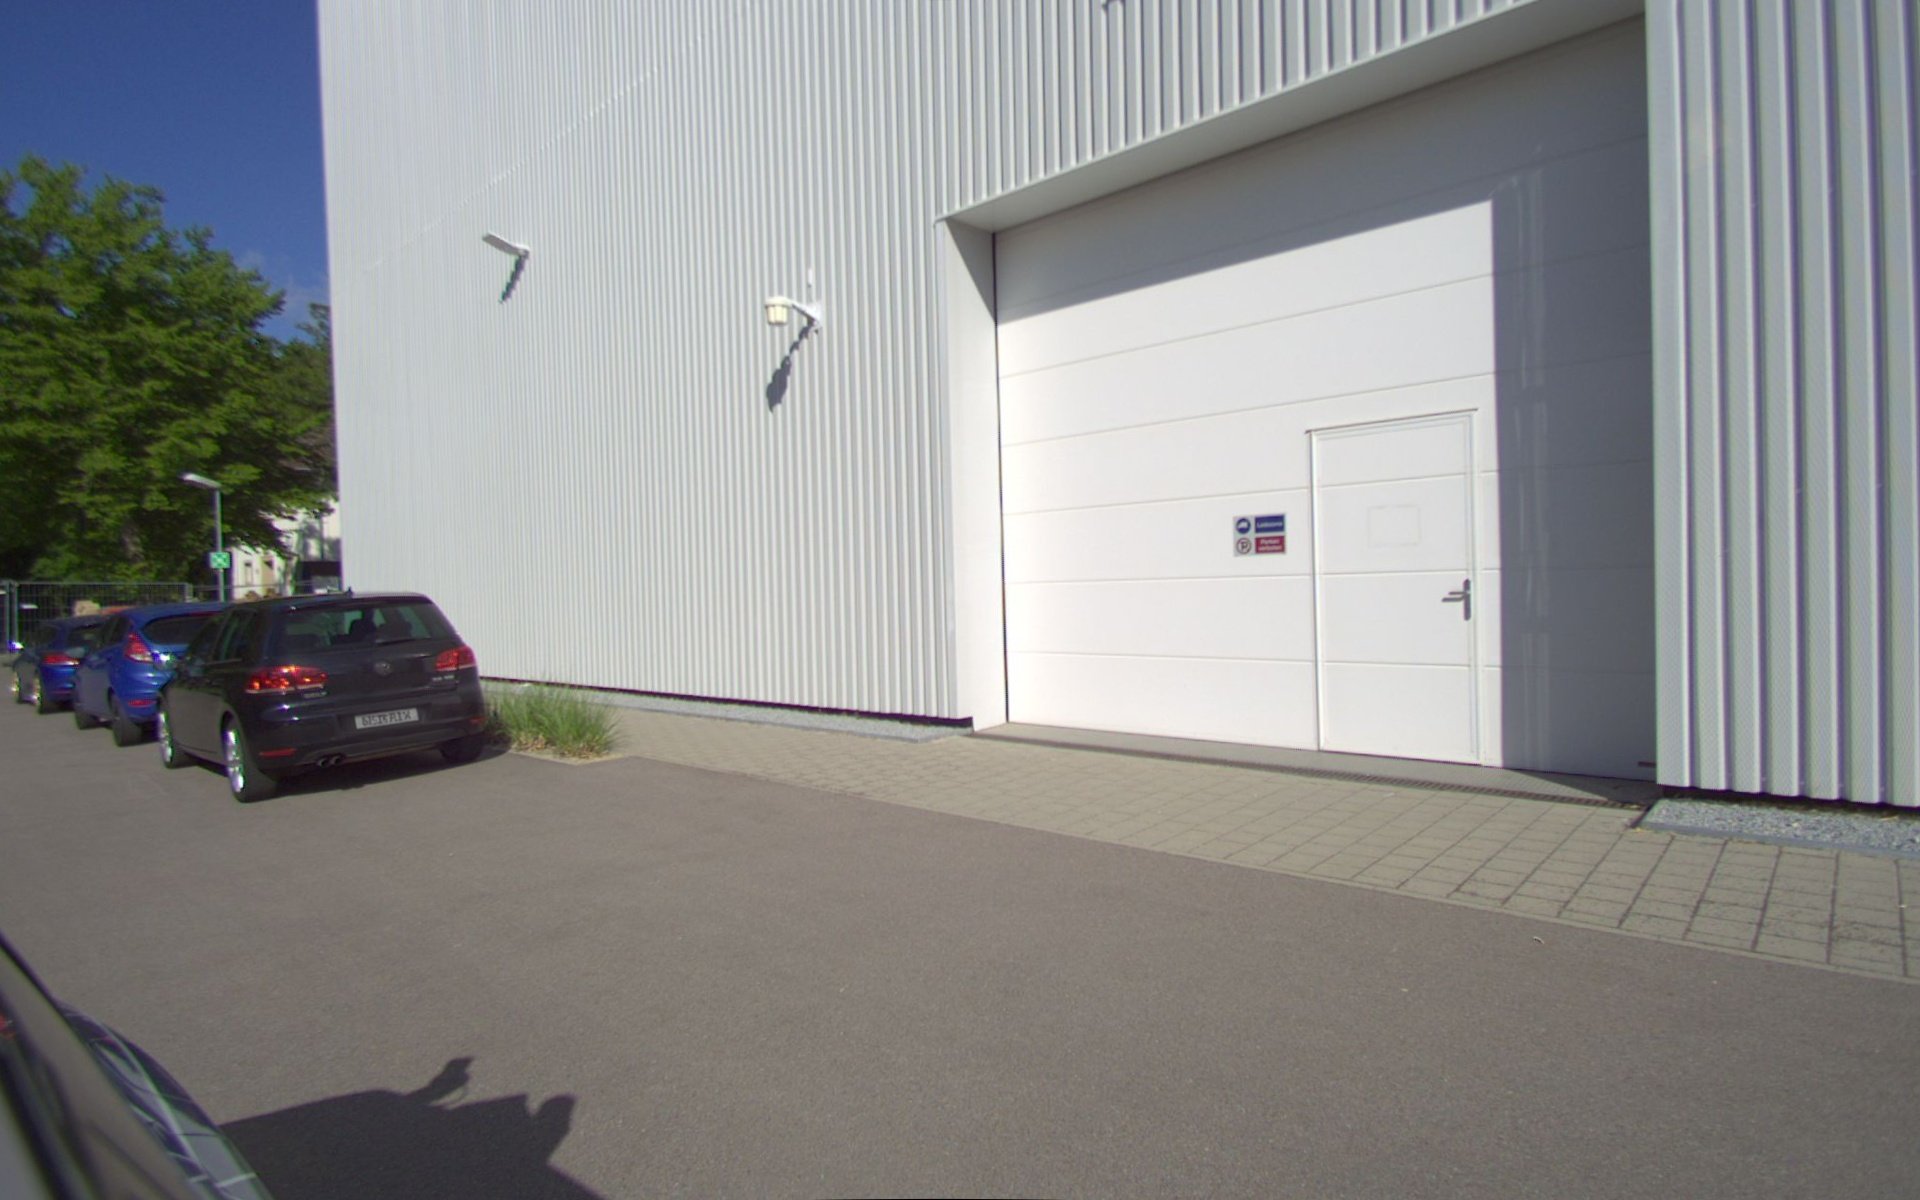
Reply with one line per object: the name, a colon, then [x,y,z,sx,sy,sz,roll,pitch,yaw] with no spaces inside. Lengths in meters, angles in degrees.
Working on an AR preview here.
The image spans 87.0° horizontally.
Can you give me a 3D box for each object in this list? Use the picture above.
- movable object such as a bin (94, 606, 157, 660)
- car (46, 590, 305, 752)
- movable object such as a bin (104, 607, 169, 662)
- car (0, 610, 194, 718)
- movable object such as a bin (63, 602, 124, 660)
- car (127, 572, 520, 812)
movable object such as a bin: [-24.042,0.925,29.163,1.228,1.450,1.080,0,3,37]
car: [-9.446,0.740,12.066,4.093,1.511,1.614,-1,3,41]
movable object such as a bin: [-23.028,0.939,28.297,1.228,1.443,1.080,0,3,37]
car: [-13.483,0.899,15.684,4.052,1.371,1.756,-1,2,42]
movable object such as a bin: [-25.761,0.892,30.087,1.228,1.609,1.080,1,2,36]
car: [-5.651,0.621,8.743,4.293,1.511,1.736,-1,3,43]
